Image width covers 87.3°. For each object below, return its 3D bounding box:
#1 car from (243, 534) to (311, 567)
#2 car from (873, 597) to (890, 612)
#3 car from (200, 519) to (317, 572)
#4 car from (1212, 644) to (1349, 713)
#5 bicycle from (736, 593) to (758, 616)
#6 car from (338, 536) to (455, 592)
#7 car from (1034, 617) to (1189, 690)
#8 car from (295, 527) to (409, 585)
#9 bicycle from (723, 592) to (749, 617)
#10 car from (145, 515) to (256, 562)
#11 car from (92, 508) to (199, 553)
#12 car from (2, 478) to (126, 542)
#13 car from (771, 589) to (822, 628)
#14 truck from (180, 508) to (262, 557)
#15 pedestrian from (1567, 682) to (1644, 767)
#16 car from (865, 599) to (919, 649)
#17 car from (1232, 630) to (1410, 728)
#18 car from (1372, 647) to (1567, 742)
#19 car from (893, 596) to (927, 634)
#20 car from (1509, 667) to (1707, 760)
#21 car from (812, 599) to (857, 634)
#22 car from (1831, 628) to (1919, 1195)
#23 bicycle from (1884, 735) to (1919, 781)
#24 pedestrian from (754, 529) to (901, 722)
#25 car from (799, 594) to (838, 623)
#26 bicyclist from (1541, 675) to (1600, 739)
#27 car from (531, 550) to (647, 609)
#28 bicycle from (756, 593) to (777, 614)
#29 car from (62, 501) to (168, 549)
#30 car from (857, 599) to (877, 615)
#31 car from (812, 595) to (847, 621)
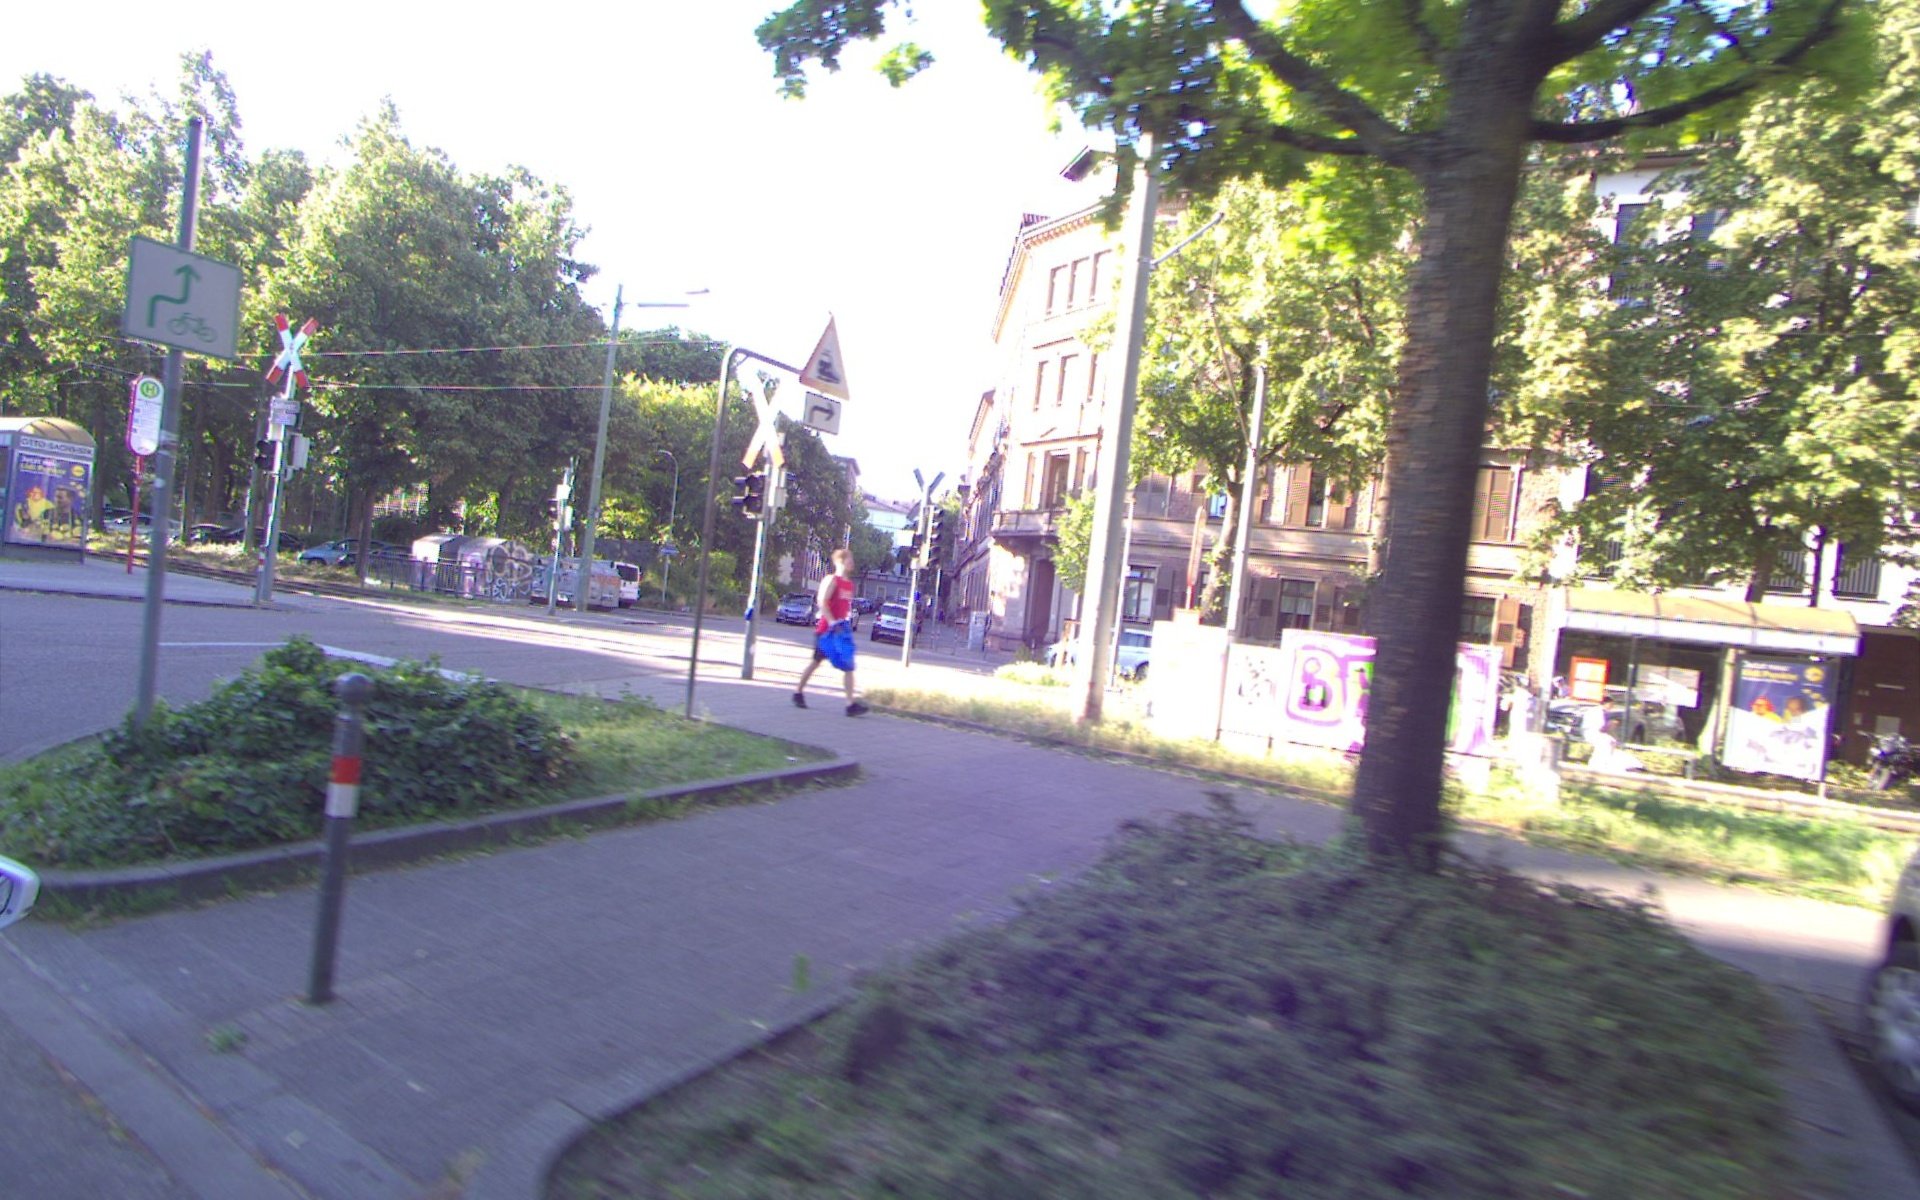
[{"bbox_3d":[-37.815,-2.733,55.688,3.538,1.402,1.574,6,0,28],"label":"car"},{"bbox_3d":[-11.037,0.651,141.510,1.966,1.702,3.998,8,-3,-7],"label":"car"},{"bbox_3d":[-29.383,-2.238,42.187,3.803,1.512,1.720,11,-4,-39],"label":"car"},{"bbox_3d":[9.596,2.347,30.114,3.656,1.506,1.744,7,-3,23],"label":"car"},{"bbox_3d":[-11.128,0.256,52.594,0.588,1.115,2.627,7,-1,-2],"label":"bicycle"},{"bbox_3d":[-21.271,-1.359,38.041,3.589,1.463,1.593,11,-3,-35],"label":"car"},{"bbox_3d":[4.846,1.695,32.134,4.417,1.667,1.876,7,-3,24],"label":"car"},{"bbox_3d":[-23.740,-1.703,39.338,3.589,1.579,1.593,10,-3,-35],"label":"car"},{"bbox_3d":[-11.089,0.230,49.876,0.587,1.115,2.627,7,-1,0],"label":"bicycle"},{"bbox_3d":[-34.075,-2.732,45.213,3.803,1.406,1.720,11,-5,-39],"label":"car"},{"bbox_3d":[-39.098,-3.292,48.374,3.803,1.436,1.720,11,-5,-39],"label":"car"},{"bbox_3d":[-48.803,-4.874,54.930,4.451,2.503,1.808,10,-4,-28],"label":"car"},{"bbox_3d":[-8.404,0.434,52.062,1.799,1.633,4.291,10,-1,-1],"label":"car"},{"bbox_3d":[-44.109,-4.006,60.035,4.312,2.381,2.369,6,0,32],"label":"truck"},{"bbox_3d":[10.965,2.097,17.118,0.861,1.288,0.824,6,0,24],"label":"pedestrian"},{"bbox_3d":[-2.807,0.999,42.400,1.888,1.675,4.186,10,-1,-2],"label":"car"},{"bbox_3d":[8.325,1.843,23.035,4.388,1.707,1.723,9,-2,-40],"label":"car"},{"bbox_3d":[11.192,2.096,21.992,4.513,1.655,1.910,7,0,-37],"label":"car"},{"bbox_3d":[-3.149,0.942,63.538,1.771,2.096,3.954,9,-1,-2],"label":"car"},{"bbox_3d":[13.440,2.357,20.761,4.513,1.505,1.910,7,0,-37],"label":"car"},{"bbox_3d":[-6.185,0.788,49.949,1.676,1.474,4.061,7,0,-1],"label":"car"},{"bbox_3d":[3.778,1.042,2.352,1.919,1.937,4.542,5,-1,34],"label":"car"},{"bbox_3d":[26.453,4.371,27.145,0.677,1.130,2.074,7,0,-39],"label":"bicycle"},{"bbox_3d":[-1.455,0.266,11.081,1.131,1.943,0.902,7,2,32],"label":"pedestrian"},{"bbox_3d":[-8.985,0.541,64.246,1.799,1.495,3.931,10,-1,-1],"label":"car"},{"bbox_3d":[14.681,2.558,24.219,0.961,1.370,0.779,7,1,21],"label":"bicyclist"},{"bbox_3d":[-16.336,-0.890,44.308,4.575,2.028,1.949,6,0,24],"label":"car"},{"bbox_3d":[-11.355,0.229,59.105,0.587,1.115,2.627,7,-1,0],"label":"bicycle"},{"bbox_3d":[-41.585,-3.668,49.630,3.803,1.604,1.720,11,-4,-39],"label":"car"},{"bbox_3d":[-10.434,0.800,113.346,1.799,1.517,3.931,10,-1,-1],"label":"car"},{"bbox_3d":[-9.194,0.569,71.120,1.799,1.517,3.931,10,-1,-1],"label":"car"}]
